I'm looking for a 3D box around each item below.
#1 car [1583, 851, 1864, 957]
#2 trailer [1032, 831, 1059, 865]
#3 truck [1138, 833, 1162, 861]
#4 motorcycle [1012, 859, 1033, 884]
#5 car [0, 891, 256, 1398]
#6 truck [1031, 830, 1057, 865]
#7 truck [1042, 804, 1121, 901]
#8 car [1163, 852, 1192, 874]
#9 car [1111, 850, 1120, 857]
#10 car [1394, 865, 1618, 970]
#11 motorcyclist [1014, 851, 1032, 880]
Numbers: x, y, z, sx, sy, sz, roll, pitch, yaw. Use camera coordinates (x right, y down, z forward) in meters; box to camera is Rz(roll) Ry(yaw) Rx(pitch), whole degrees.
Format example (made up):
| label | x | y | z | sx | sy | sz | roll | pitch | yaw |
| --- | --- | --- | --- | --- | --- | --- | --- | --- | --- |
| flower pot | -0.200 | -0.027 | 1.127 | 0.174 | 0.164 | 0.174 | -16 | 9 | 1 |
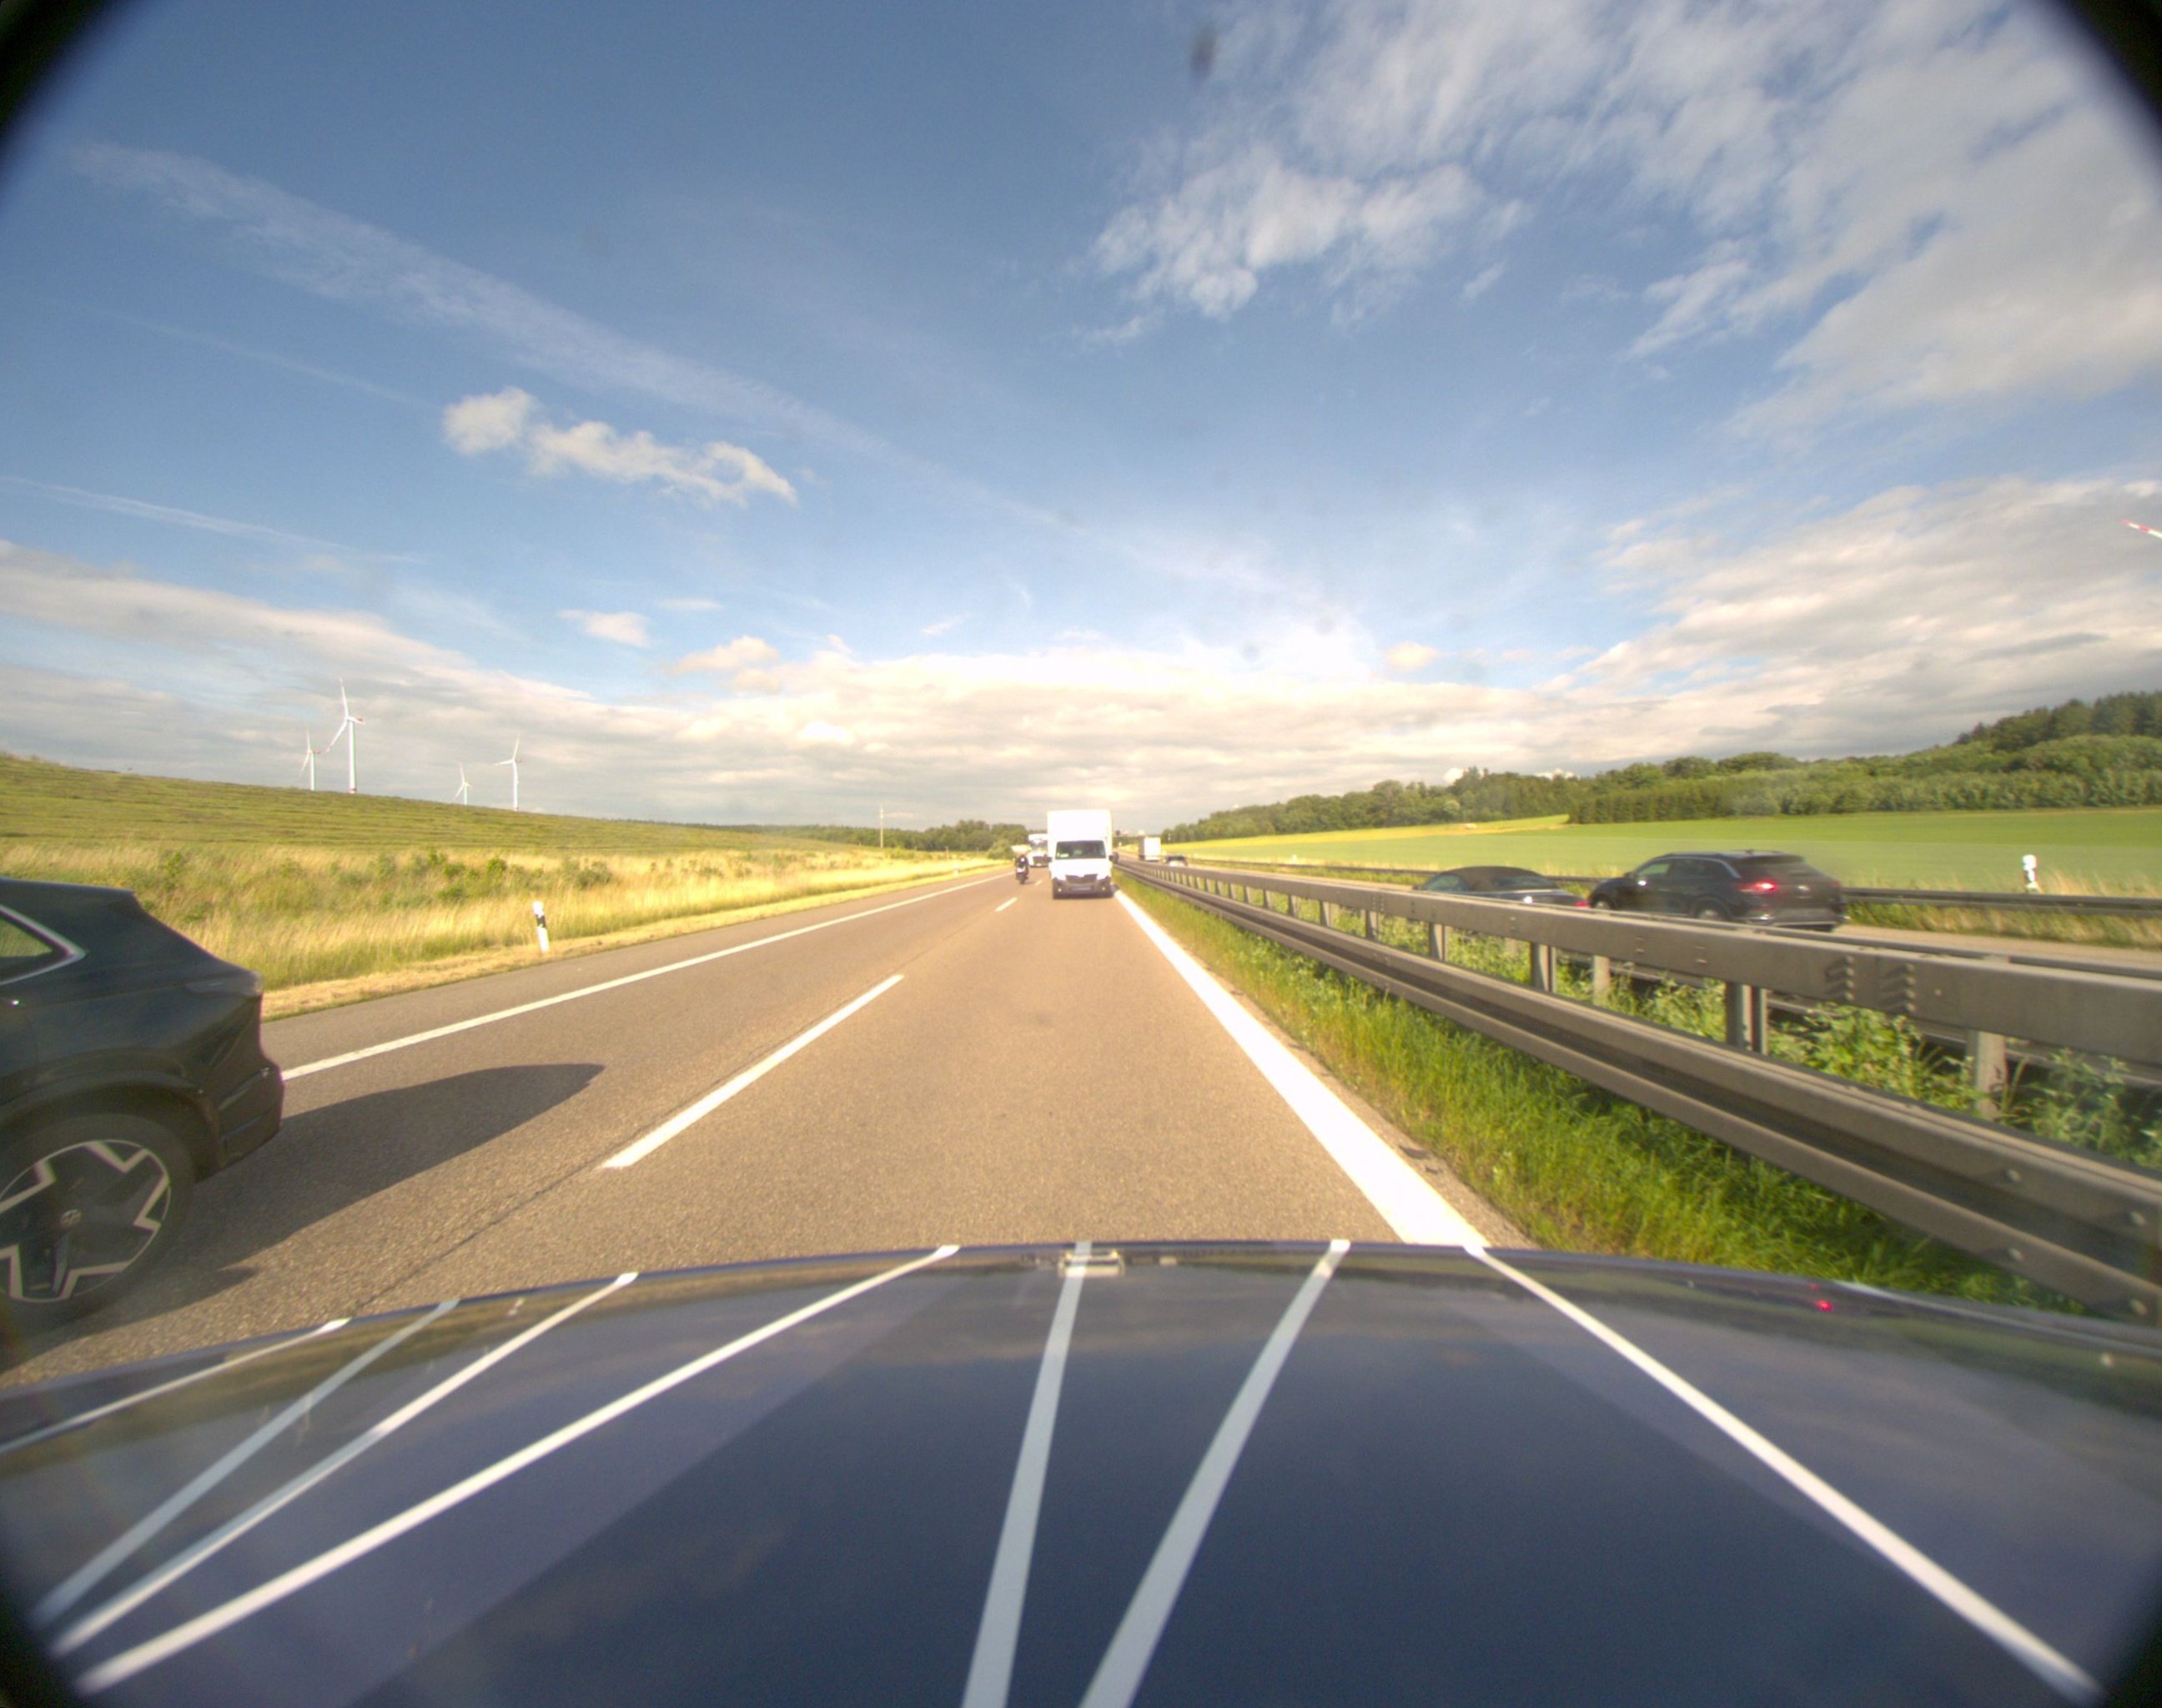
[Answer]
| label | x | y | z | sx | sy | sz | roll | pitch | yaw |
| --- | --- | --- | --- | --- | --- | --- | --- | --- | --- |
| car | 11.151 | 0.758 | 13.615 | 1.619 | 1.512 | 3.999 | -2 | 1 | -1 |
| trailer | -4.549 | -0.848 | 100.749 | 2.623 | 4.017 | 13.697 | -4 | 0 | 0 |
| truck | 11.984 | -1.220 | 133.089 | 2.887 | 4.608 | 13.421 | -2 | 1 | 0 |
| motorcycle | -3.127 | 0.924 | 40.972 | 0.898 | 1.183 | 2.256 | -2 | 1 | 0 |
| car | -4.450 | 1.016 | 1.076 | 1.825 | 1.592 | 4.234 | -2 | 1 | 1 |
| truck | -4.544 | -0.814 | 94.021 | 2.607 | 4.017 | 6.119 | -4 | 1 | 0 |
| truck | -0.025 | -0.054 | 30.834 | 2.502 | 3.141 | 11.162 | -2 | 0 | -1 |
| car | 7.539 | 0.665 | 59.597 | 1.619 | 1.576 | 4.064 | -2 | 1 | -1 |
| car | 7.733 | -0.033 | 170.657 | 1.708 | 1.482 | 3.999 | -2 | 1 | 0 |
| car | 7.133 | 0.964 | 13.270 | 1.619 | 1.384 | 3.999 | -2 | 1 | -1 |
| motorcyclist | -3.141 | 0.613 | 41.010 | 0.852 | 1.551 | 0.934 | -2 | 1 | 0 |
